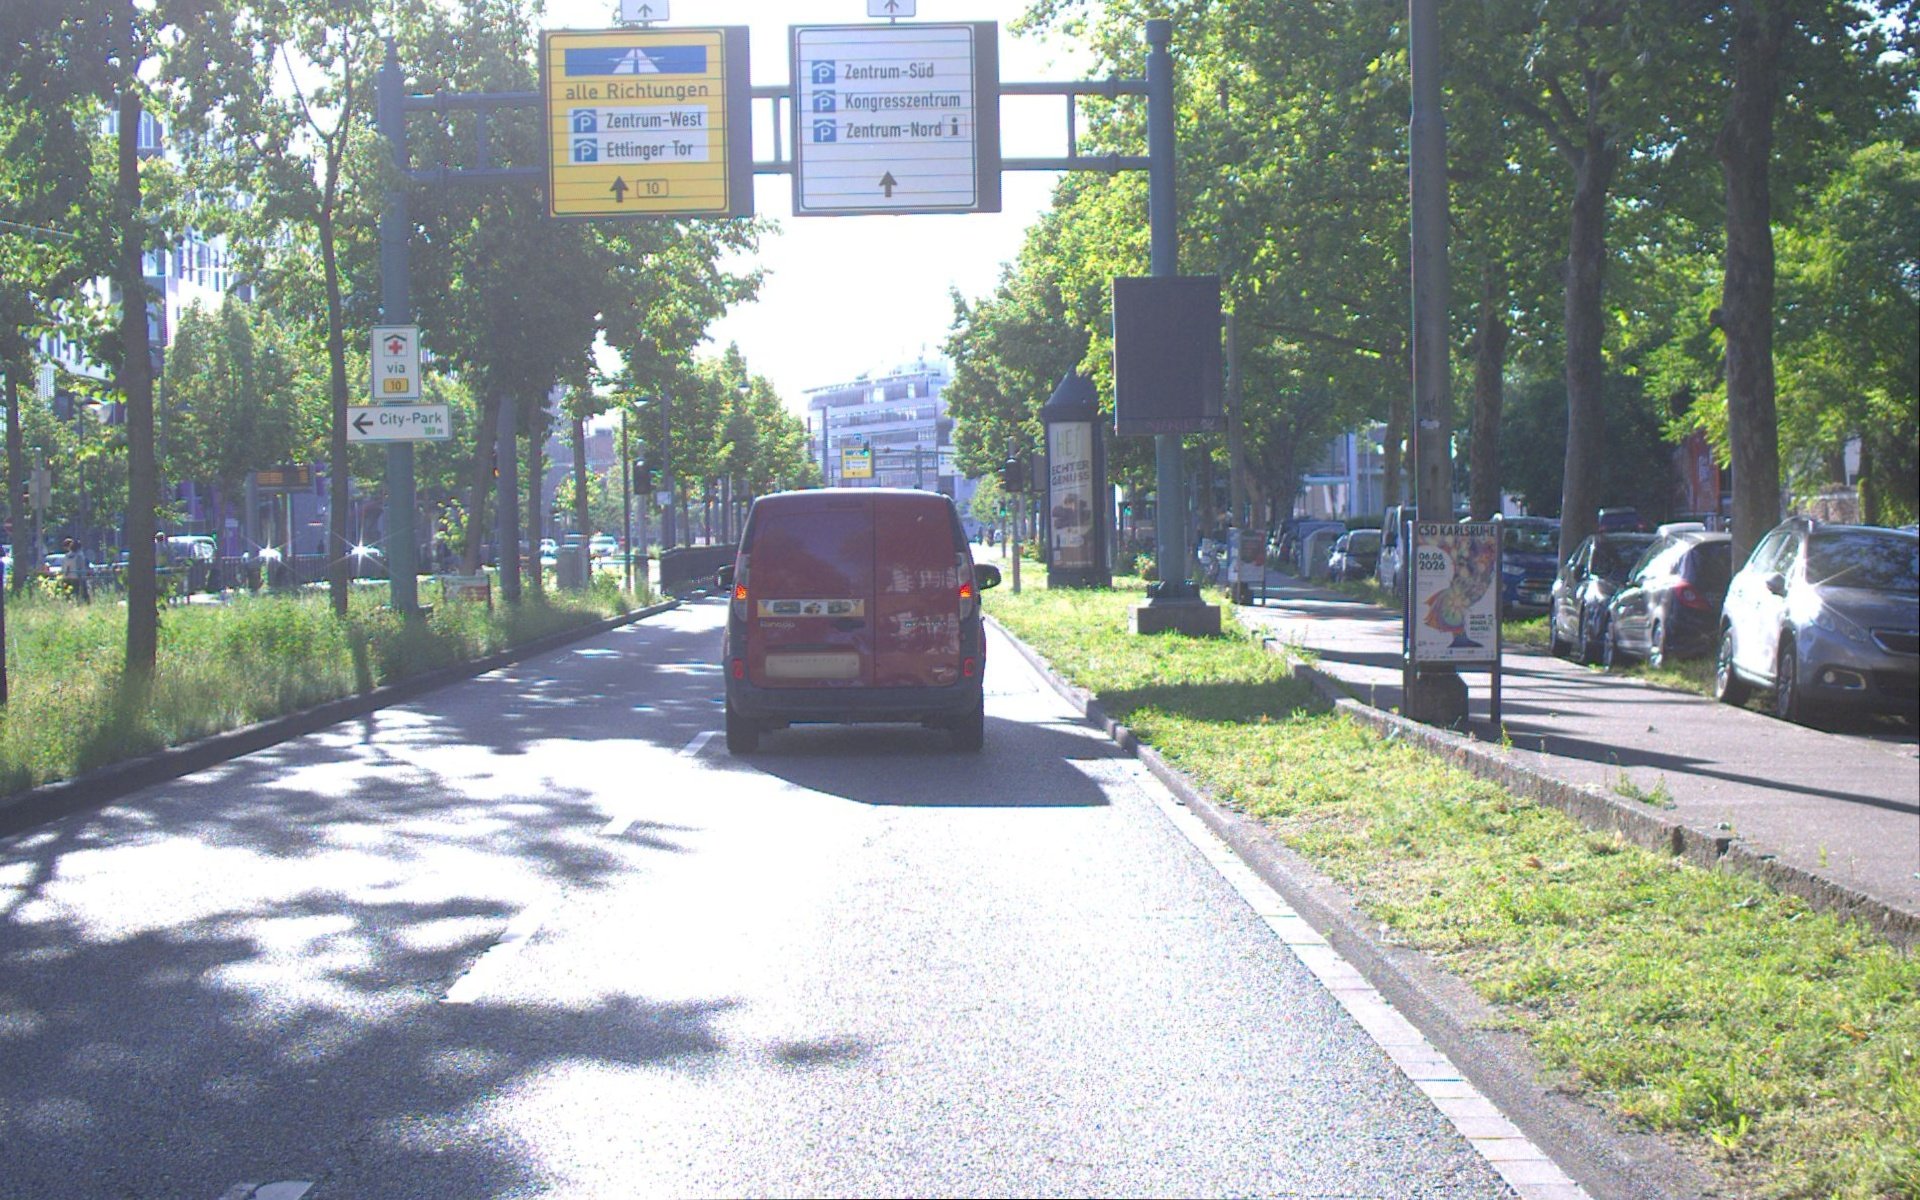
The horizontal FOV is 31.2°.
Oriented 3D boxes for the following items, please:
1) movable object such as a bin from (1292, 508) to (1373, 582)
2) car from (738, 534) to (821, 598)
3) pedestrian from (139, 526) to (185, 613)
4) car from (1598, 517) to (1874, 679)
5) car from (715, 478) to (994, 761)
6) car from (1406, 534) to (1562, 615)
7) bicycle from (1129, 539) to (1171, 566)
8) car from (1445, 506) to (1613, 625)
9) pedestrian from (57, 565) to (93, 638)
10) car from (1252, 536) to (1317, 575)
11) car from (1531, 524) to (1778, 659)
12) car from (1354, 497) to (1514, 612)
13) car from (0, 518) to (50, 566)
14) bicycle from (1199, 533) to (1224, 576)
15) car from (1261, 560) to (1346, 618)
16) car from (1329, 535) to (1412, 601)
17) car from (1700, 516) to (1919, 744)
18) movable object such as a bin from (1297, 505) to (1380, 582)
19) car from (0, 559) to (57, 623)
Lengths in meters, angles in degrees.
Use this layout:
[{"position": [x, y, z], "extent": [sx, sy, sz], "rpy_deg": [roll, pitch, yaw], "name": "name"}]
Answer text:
[{"position": [10.220, -1.506, 94.506], "extent": [2.081, 2.007, 2.136], "rpy_deg": [1, 0, 3], "name": "movable object such as a bin"}, {"position": [-4.731, -0.891, 90.461], "extent": [1.993, 1.612, 4.000], "rpy_deg": [1, 0, -1], "name": "car"}, {"position": [-16.956, -0.652, 73.090], "extent": [0.820, 1.829, 0.726], "rpy_deg": [1, 0, -3], "name": "pedestrian"}, {"position": [7.328, -0.040, 32.827], "extent": [1.793, 1.433, 3.884], "rpy_deg": [1, 0, 1], "name": "car"}, {"position": [-0.818, 0.110, 24.507], "extent": [1.808, 1.831, 4.001], "rpy_deg": [1, 0, -4], "name": "car"}, {"position": [8.702, -0.429, 57.406], "extent": [1.993, 1.285, 4.053], "rpy_deg": [1, 1, 1], "name": "car"}, {"position": [8.817, -2.207, 159.889], "extent": [1.918, 1.264, 0.479], "rpy_deg": [0, 1, 1], "name": "bicycle"}, {"position": [8.244, -0.498, 50.123], "extent": [1.736, 1.636, 4.353], "rpy_deg": [1, 0, 1], "name": "car"}, {"position": [-18.428, 0.032, 71.577], "extent": [0.550, 1.513, 0.588], "rpy_deg": [1, 0, 4], "name": "pedestrian"}, {"position": [11.659, -1.591, 123.800], "extent": [1.871, 1.363, 4.000], "rpy_deg": [1, 1, -1], "name": "car"}, {"position": [7.768, -0.118, 38.863], "extent": [1.994, 1.377, 4.677], "rpy_deg": [2, 1, 2], "name": "car"}, {"position": [8.701, -0.830, 63.627], "extent": [2.190, 2.007, 5.820], "rpy_deg": [1, 1, 1], "name": "car"}, {"position": [-40.395, -2.449, 146.455], "extent": [1.993, 2.007, 4.563], "rpy_deg": [1, 0, 0], "name": "car"}, {"position": [6.243, -1.125, 85.251], "extent": [0.493, 1.043, 1.904], "rpy_deg": [1, 0, 1], "name": "bicycle"}, {"position": [8.473, -0.283, 85.099], "extent": [2.000, 1.380, 4.744], "rpy_deg": [1, 1, 5], "name": "car"}, {"position": [9.668, -0.749, 81.063], "extent": [1.662, 1.495, 2.989], "rpy_deg": [1, 0, 2], "name": "car"}, {"position": [6.890, 0.212, 25.992], "extent": [1.793, 1.555, 4.020], "rpy_deg": [2, 1, 2], "name": "car"}, {"position": [10.087, -1.492, 91.742], "extent": [2.081, 2.007, 2.136], "rpy_deg": [1, 0, 3], "name": "movable object such as a bin"}, {"position": [-24.473, -0.234, 87.070], "extent": [1.993, 1.566, 4.166], "rpy_deg": [-1, 1, 2], "name": "car"}]
